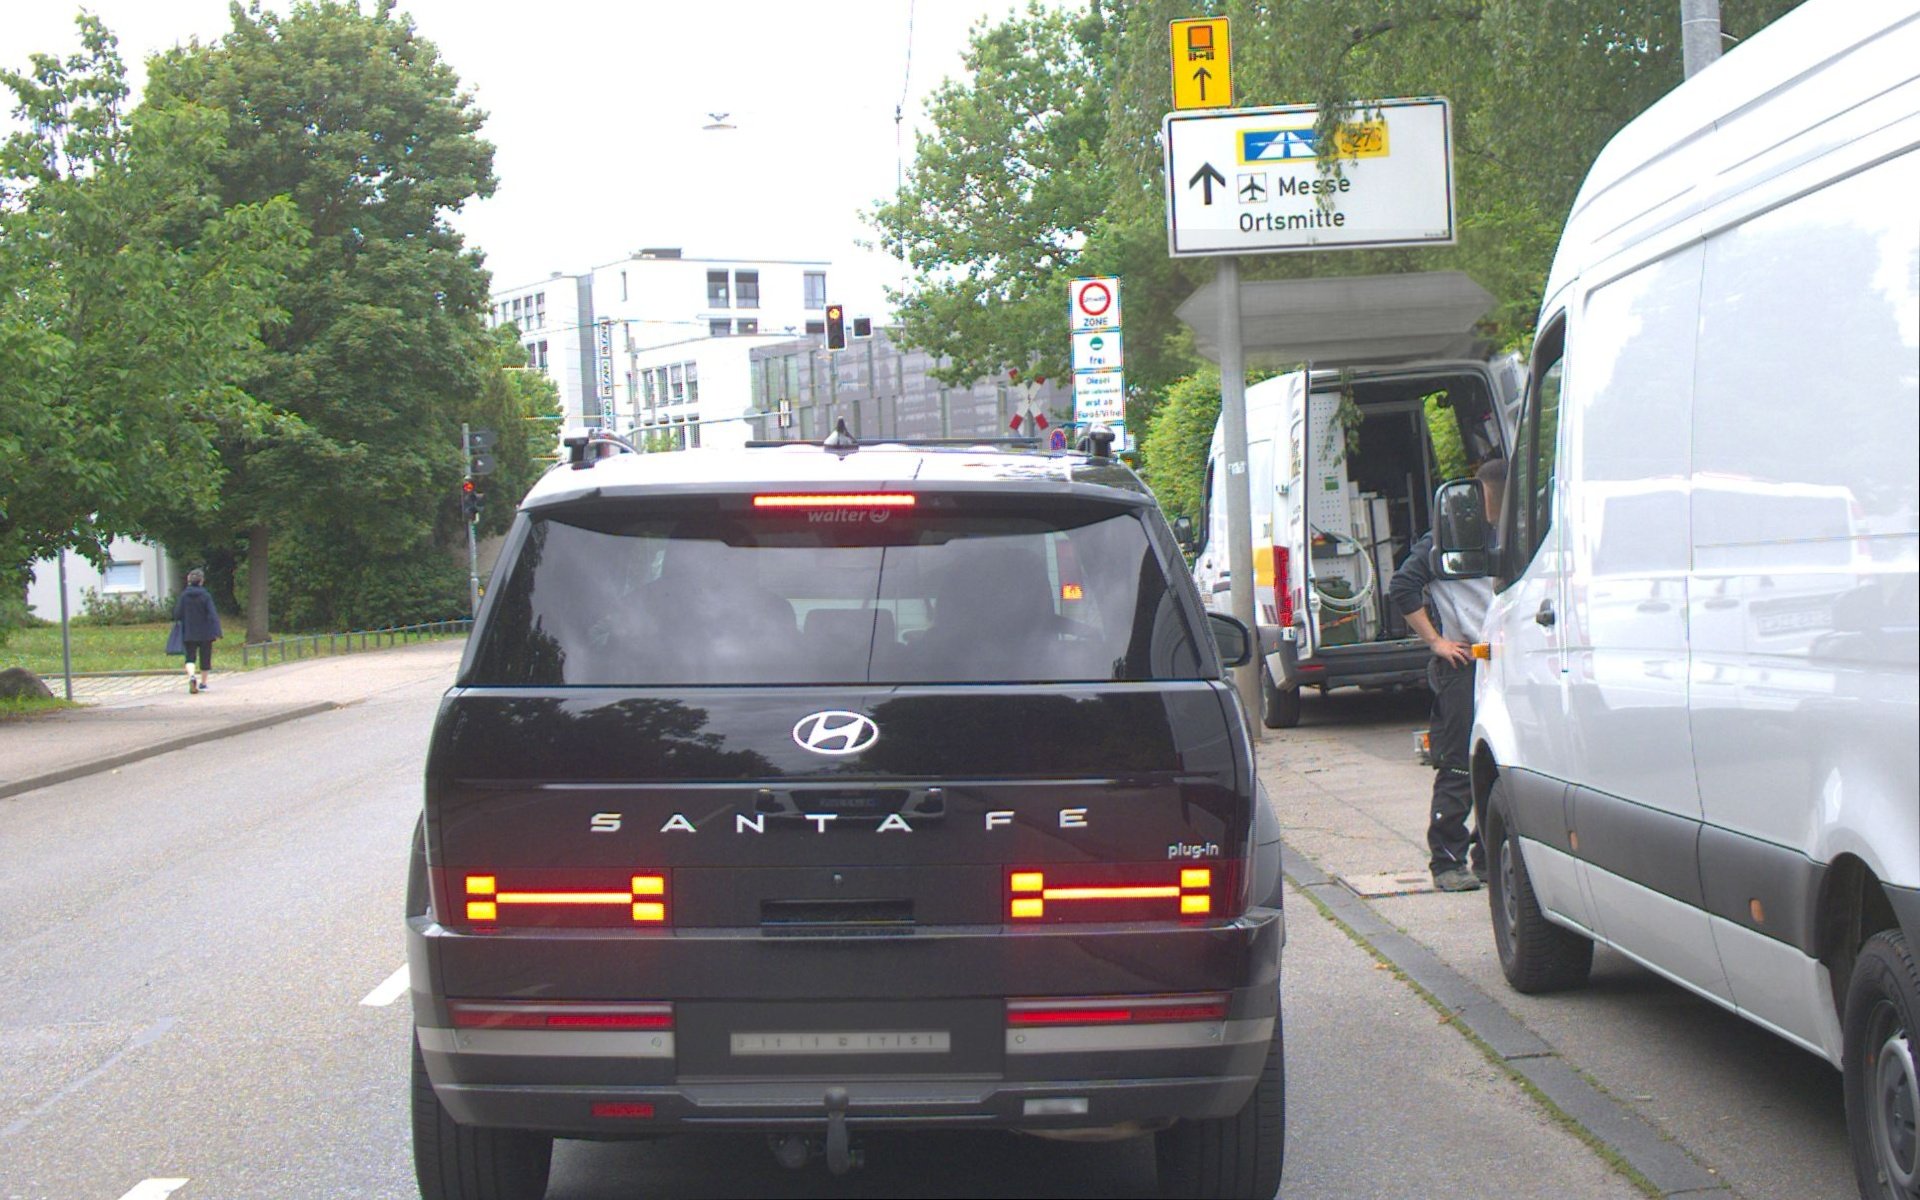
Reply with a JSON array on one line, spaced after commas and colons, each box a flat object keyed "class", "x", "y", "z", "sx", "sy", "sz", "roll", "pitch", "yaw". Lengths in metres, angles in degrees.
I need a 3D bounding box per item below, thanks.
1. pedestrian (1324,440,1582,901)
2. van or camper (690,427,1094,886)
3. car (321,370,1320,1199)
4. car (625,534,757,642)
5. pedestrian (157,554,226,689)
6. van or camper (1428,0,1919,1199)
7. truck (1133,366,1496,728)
[{"class": "pedestrian", "x": 1.986, "y": 0.270, "z": 13.932, "sx": 0.870, "sy": 1.791, "sz": 0.760, "roll": -2, "pitch": 1, "yaw": -1}, {"class": "van or camper", "x": -0.327, "y": 0.221, "z": 17.483, "sx": 1.754, "sy": 2.007, "sz": 4.000, "roll": -2, "pitch": 1, "yaw": -1}, {"class": "car", "x": -0.285, "y": 0.440, "z": 8.540, "sx": 1.889, "sy": 1.813, "sz": 4.000, "roll": 0, "pitch": 1, "yaw": -1}, {"class": "car", "x": -4.561, "y": -0.240, "z": 58.840, "sx": 1.859, "sy": 1.651, "sz": 4.306, "roll": -4, "pitch": 1, "yaw": -1}, {"class": "pedestrian", "x": -9.985, "y": 0.272, "z": 44.689, "sx": 0.738, "sy": 1.709, "sz": 0.793, "roll": -2, "pitch": 1, "yaw": -7}, {"class": "van or camper", "x": 2.623, "y": -0.085, "z": 8.127, "sx": 1.993, "sy": 2.611, "sz": 6.541, "roll": -2, "pitch": 1, "yaw": -1}, {"class": "truck", "x": 2.752, "y": -0.416, "z": 27.972, "sx": 1.942, "sy": 2.553, "sz": 5.217, "roll": -4, "pitch": 1, "yaw": -4}]
